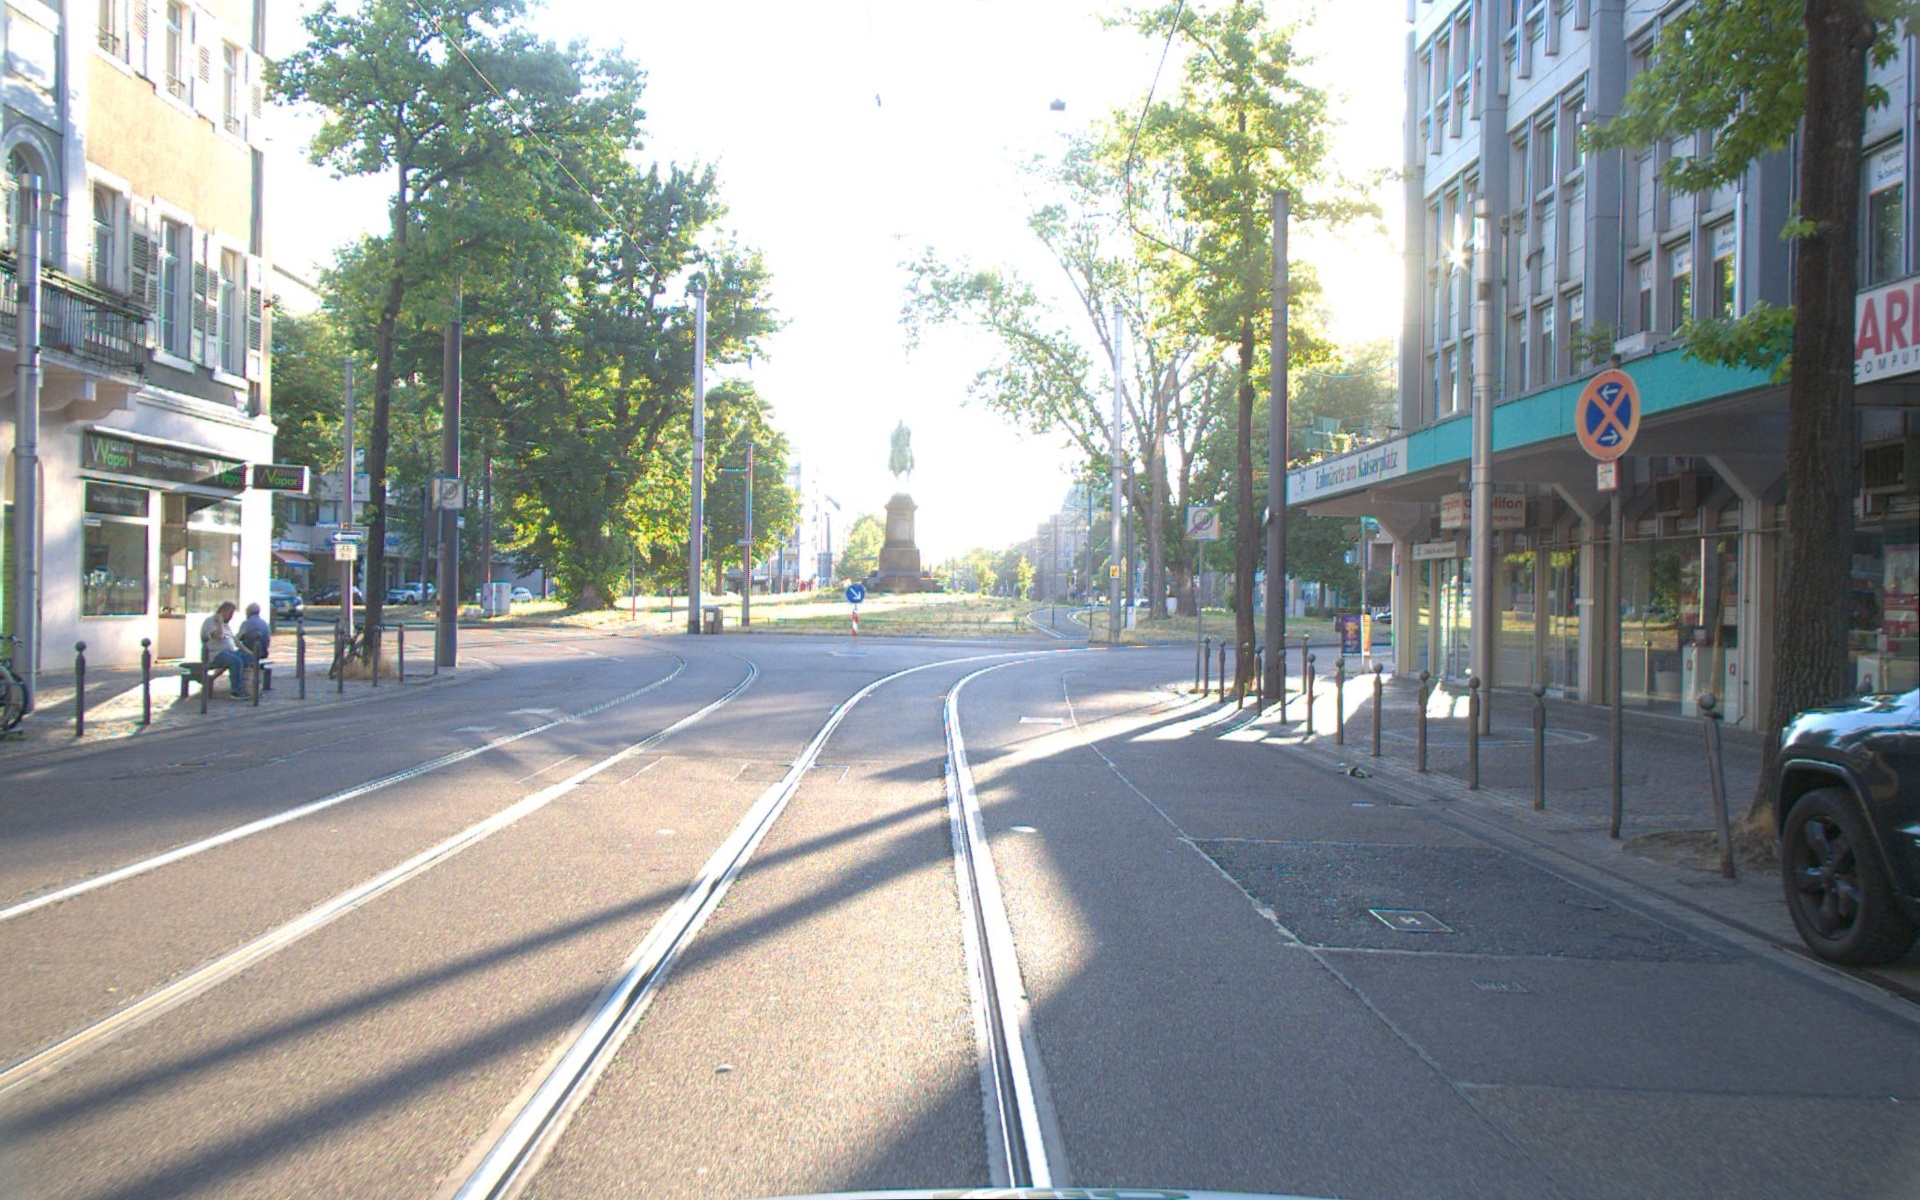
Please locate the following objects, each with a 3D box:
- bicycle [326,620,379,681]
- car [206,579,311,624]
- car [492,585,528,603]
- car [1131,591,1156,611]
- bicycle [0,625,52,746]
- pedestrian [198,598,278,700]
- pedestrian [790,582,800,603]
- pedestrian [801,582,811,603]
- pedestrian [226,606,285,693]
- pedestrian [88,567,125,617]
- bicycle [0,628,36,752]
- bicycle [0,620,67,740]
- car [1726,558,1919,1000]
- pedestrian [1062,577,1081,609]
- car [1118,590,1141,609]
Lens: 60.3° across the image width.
[{"bbox_3d":[-10.106,0.831,27.530,0.329,0.962,1.509,0,0,0],"label":"bicycle"},{"bbox_3d":[-28.772,0.055,67.808,4.271,1.706,1.962,2,0,35],"label":"car"},{"bbox_3d":[-36.678,-0.522,134.905,1.838,1.445,3.926,1,0,1],"label":"car"},{"bbox_3d":[19.537,0.115,176.051,2.095,2.049,3.999,1,0,-1],"label":"car"},{"bbox_3d":[-9.903,0.783,15.933,1.982,1.124,0.501,2,-1,1],"label":"bicycle"},{"bbox_3d":[-9.695,0.645,22.236,0.713,1.313,0.856,1,0,-4],"label":"pedestrian"},{"bbox_3d":[-12.769,-0.587,128.275,0.754,1.634,0.637,0,0,-8],"label":"pedestrian"},{"bbox_3d":[-11.888,-0.575,127.821,0.754,1.634,0.637,0,0,-8],"label":"pedestrian"},{"bbox_3d":[-10.132,0.702,23.797,0.579,1.214,0.641,1,0,-4],"label":"pedestrian"},{"bbox_3d":[-25.040,-0.233,48.544,0.757,1.435,0.741,1,0,41],"label":"pedestrian"},{"bbox_3d":[-9.733,0.790,15.351,1.982,1.124,0.501,2,-1,1],"label":"bicycle"},{"bbox_3d":[-9.875,0.774,16.806,1.988,1.124,0.499,2,-1,34],"label":"bicycle"},{"bbox_3d":[4.858,0.697,5.933,1.899,1.790,4.678,-3,0,-1],"label":"car"},{"bbox_3d":[5.750,-0.344,85.605,0.766,1.634,0.628,0,0,-44],"label":"pedestrian"},{"bbox_3d":[19.089,-0.092,186.188,2.095,2.049,3.999,1,0,-1],"label":"car"}]
